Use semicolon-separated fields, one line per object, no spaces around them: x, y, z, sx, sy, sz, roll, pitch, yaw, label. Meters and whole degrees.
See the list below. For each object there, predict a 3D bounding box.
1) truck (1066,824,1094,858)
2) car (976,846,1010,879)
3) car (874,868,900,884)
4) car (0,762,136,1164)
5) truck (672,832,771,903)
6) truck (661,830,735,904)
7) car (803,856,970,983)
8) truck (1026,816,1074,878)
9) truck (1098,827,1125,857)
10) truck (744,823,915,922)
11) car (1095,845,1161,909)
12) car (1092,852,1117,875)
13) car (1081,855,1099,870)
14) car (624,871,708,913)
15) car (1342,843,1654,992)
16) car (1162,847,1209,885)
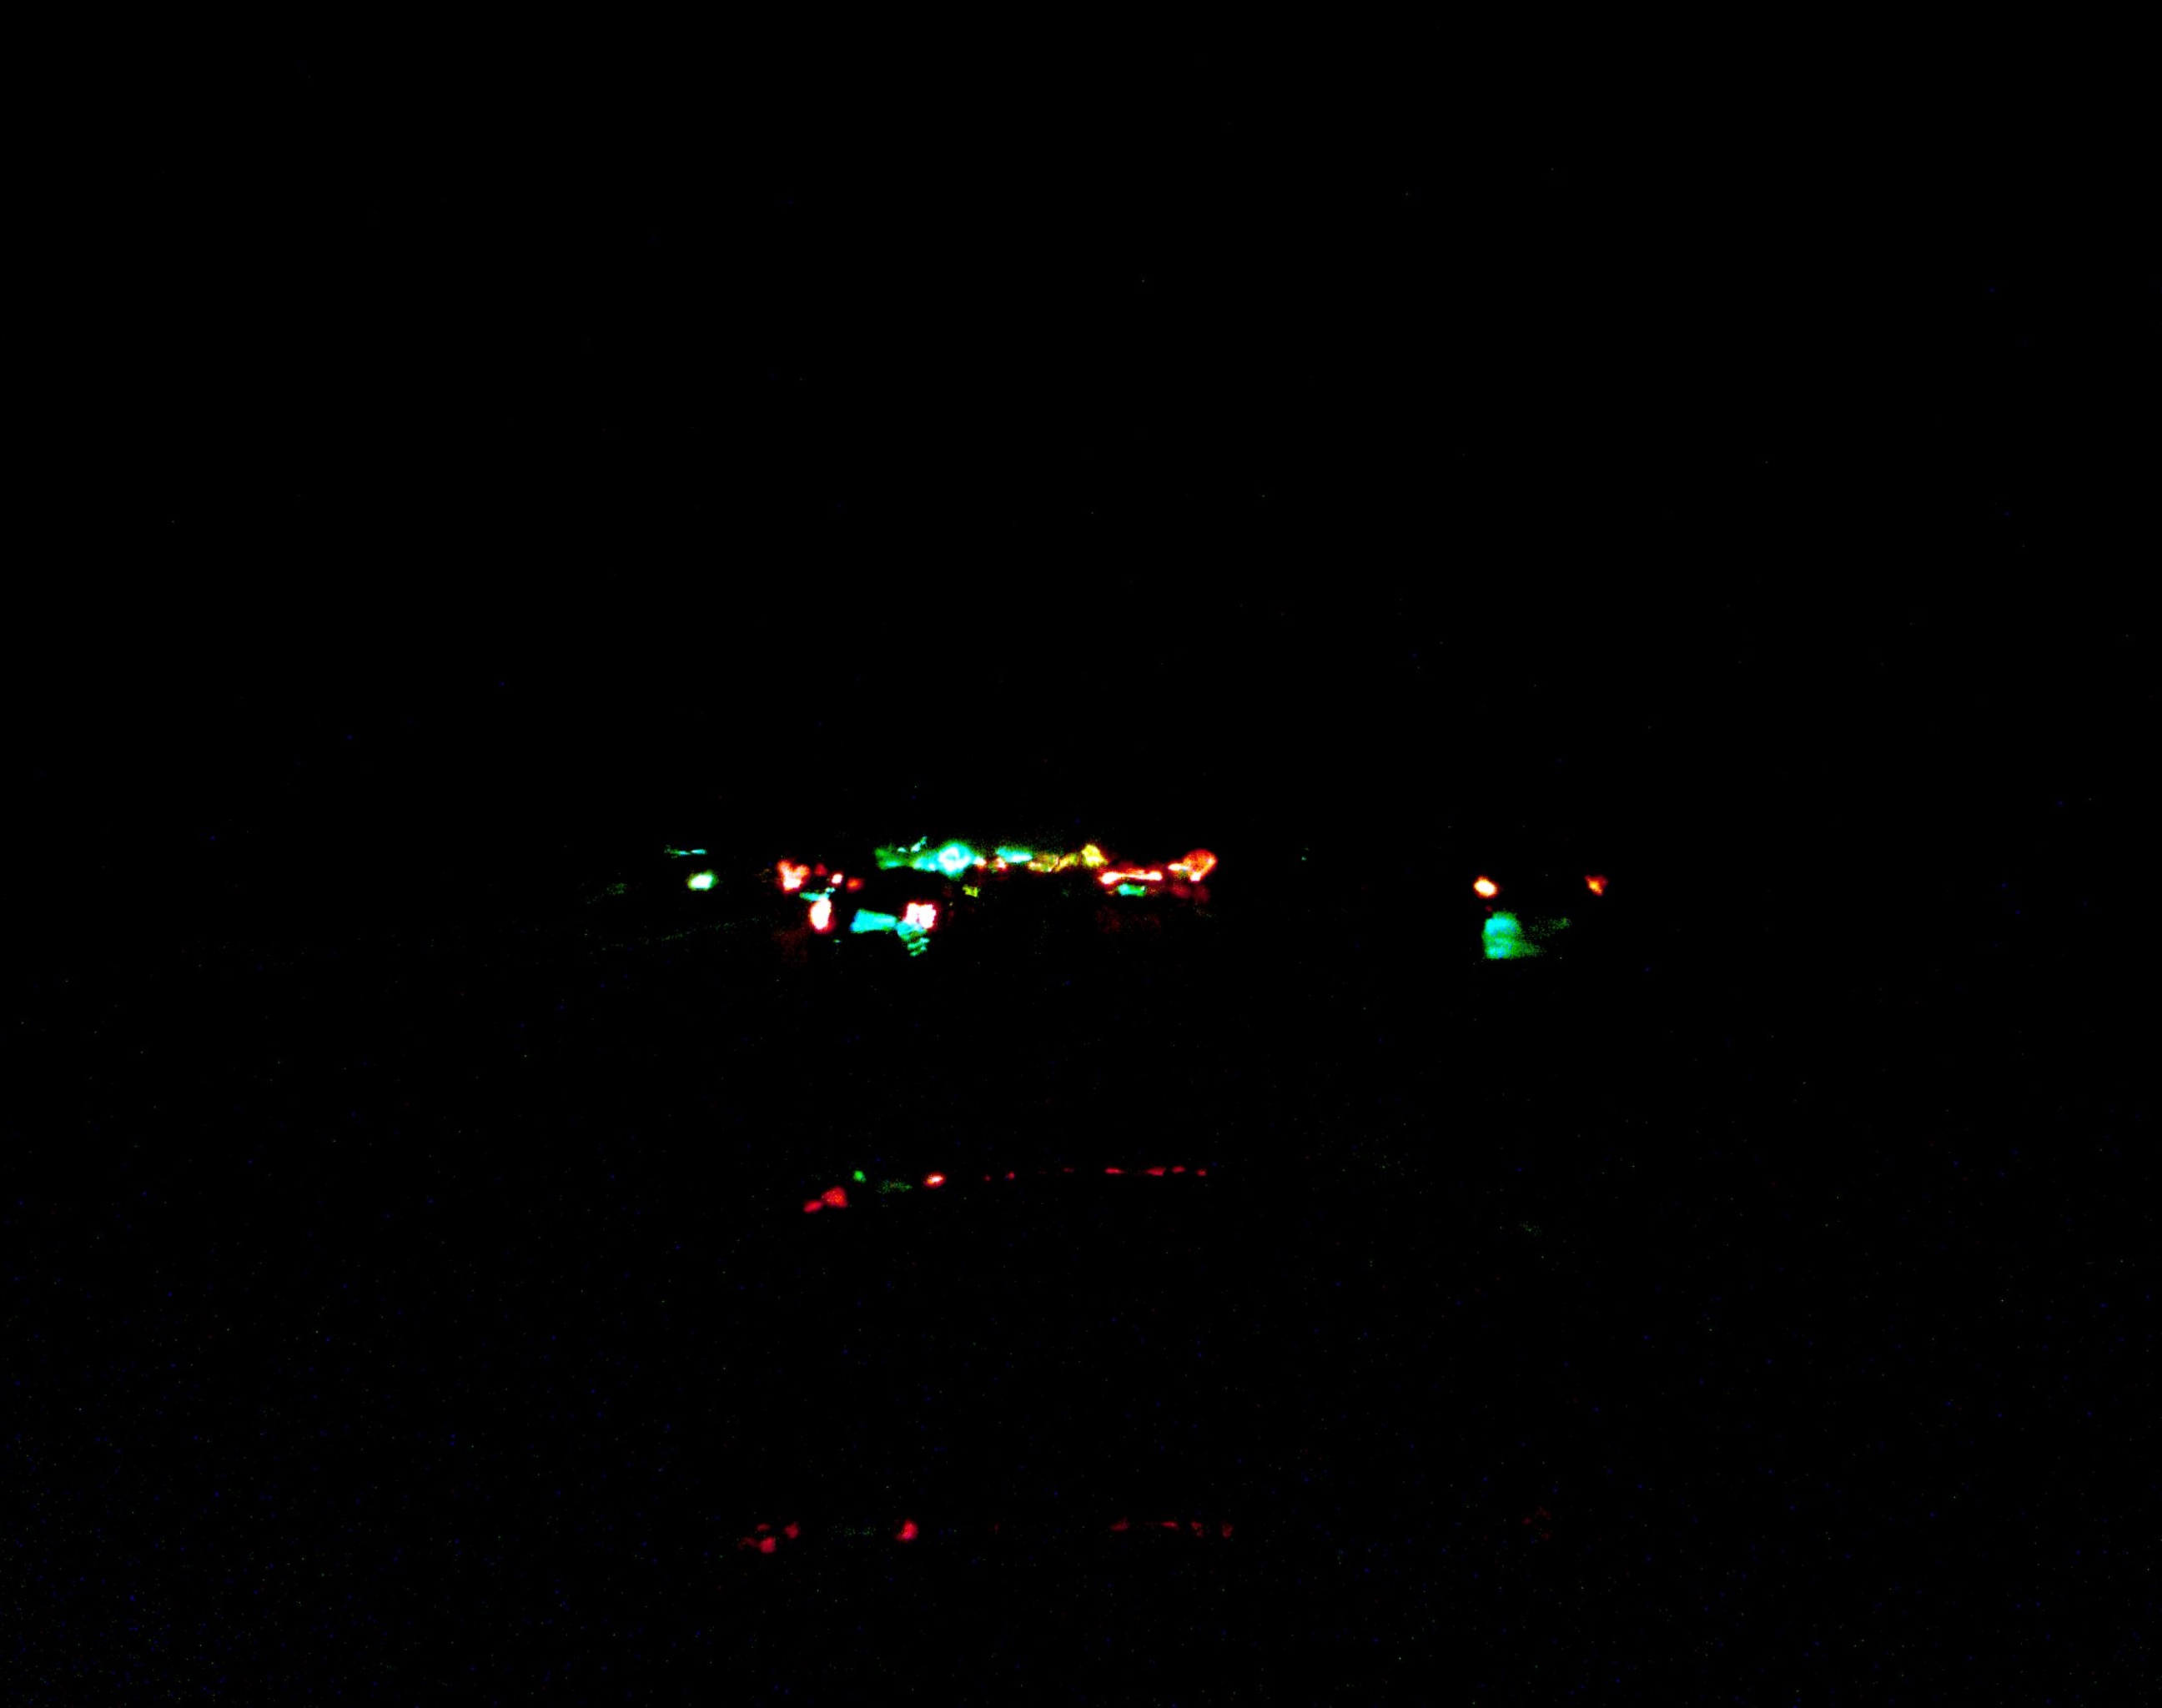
-0.007;-2.024;137.052;4.238;5.444;10.888;-1;-1;2;truck
-6.341;0.608;58.893;2.261;2.273;5.374;0;-1;-6;car
-19.224;2.137;80.798;1.651;1.513;4.000;-1;-1;0;car
-6.747;0.576;2.052;2.116;2.104;5.629;-1;0;0;car
-30.690;1.117;70.453;3.230;5.592;12.785;0;-1;-2;truck
-30.438;1.049;64.972;3.230;5.592;5.873;0;-1;-2;truck
-2.553;0.764;11.628;1.654;1.431;4.239;-1;0;-5;car
-2.697;-0.481;68.155;3.649;4.737;9.838;0;-1;-4;truck
5.379;-2.067;146.791;4.151;5.215;9.944;0;-1;-2;truck
-6.284;0.448;21.371;2.850;2.201;5.853;0;-1;-2;truck
1.304;0.623;23.851;1.759;1.689;4.001;-1;0;1;car
1.824;0.740;64.167;1.760;1.762;3.998;0;-1;-1;car
1.058;0.998;95.044;1.987;1.704;4.458;-1;-1;0;car
-19.076;1.701;37.655;1.714;1.754;4.395;0;-1;-1;car
4.841;0.637;10.237;1.764;1.457;4.194;-1;0;0;car
5.098;0.602;40.261;1.871;1.762;4.000;-1;-1;1;car
